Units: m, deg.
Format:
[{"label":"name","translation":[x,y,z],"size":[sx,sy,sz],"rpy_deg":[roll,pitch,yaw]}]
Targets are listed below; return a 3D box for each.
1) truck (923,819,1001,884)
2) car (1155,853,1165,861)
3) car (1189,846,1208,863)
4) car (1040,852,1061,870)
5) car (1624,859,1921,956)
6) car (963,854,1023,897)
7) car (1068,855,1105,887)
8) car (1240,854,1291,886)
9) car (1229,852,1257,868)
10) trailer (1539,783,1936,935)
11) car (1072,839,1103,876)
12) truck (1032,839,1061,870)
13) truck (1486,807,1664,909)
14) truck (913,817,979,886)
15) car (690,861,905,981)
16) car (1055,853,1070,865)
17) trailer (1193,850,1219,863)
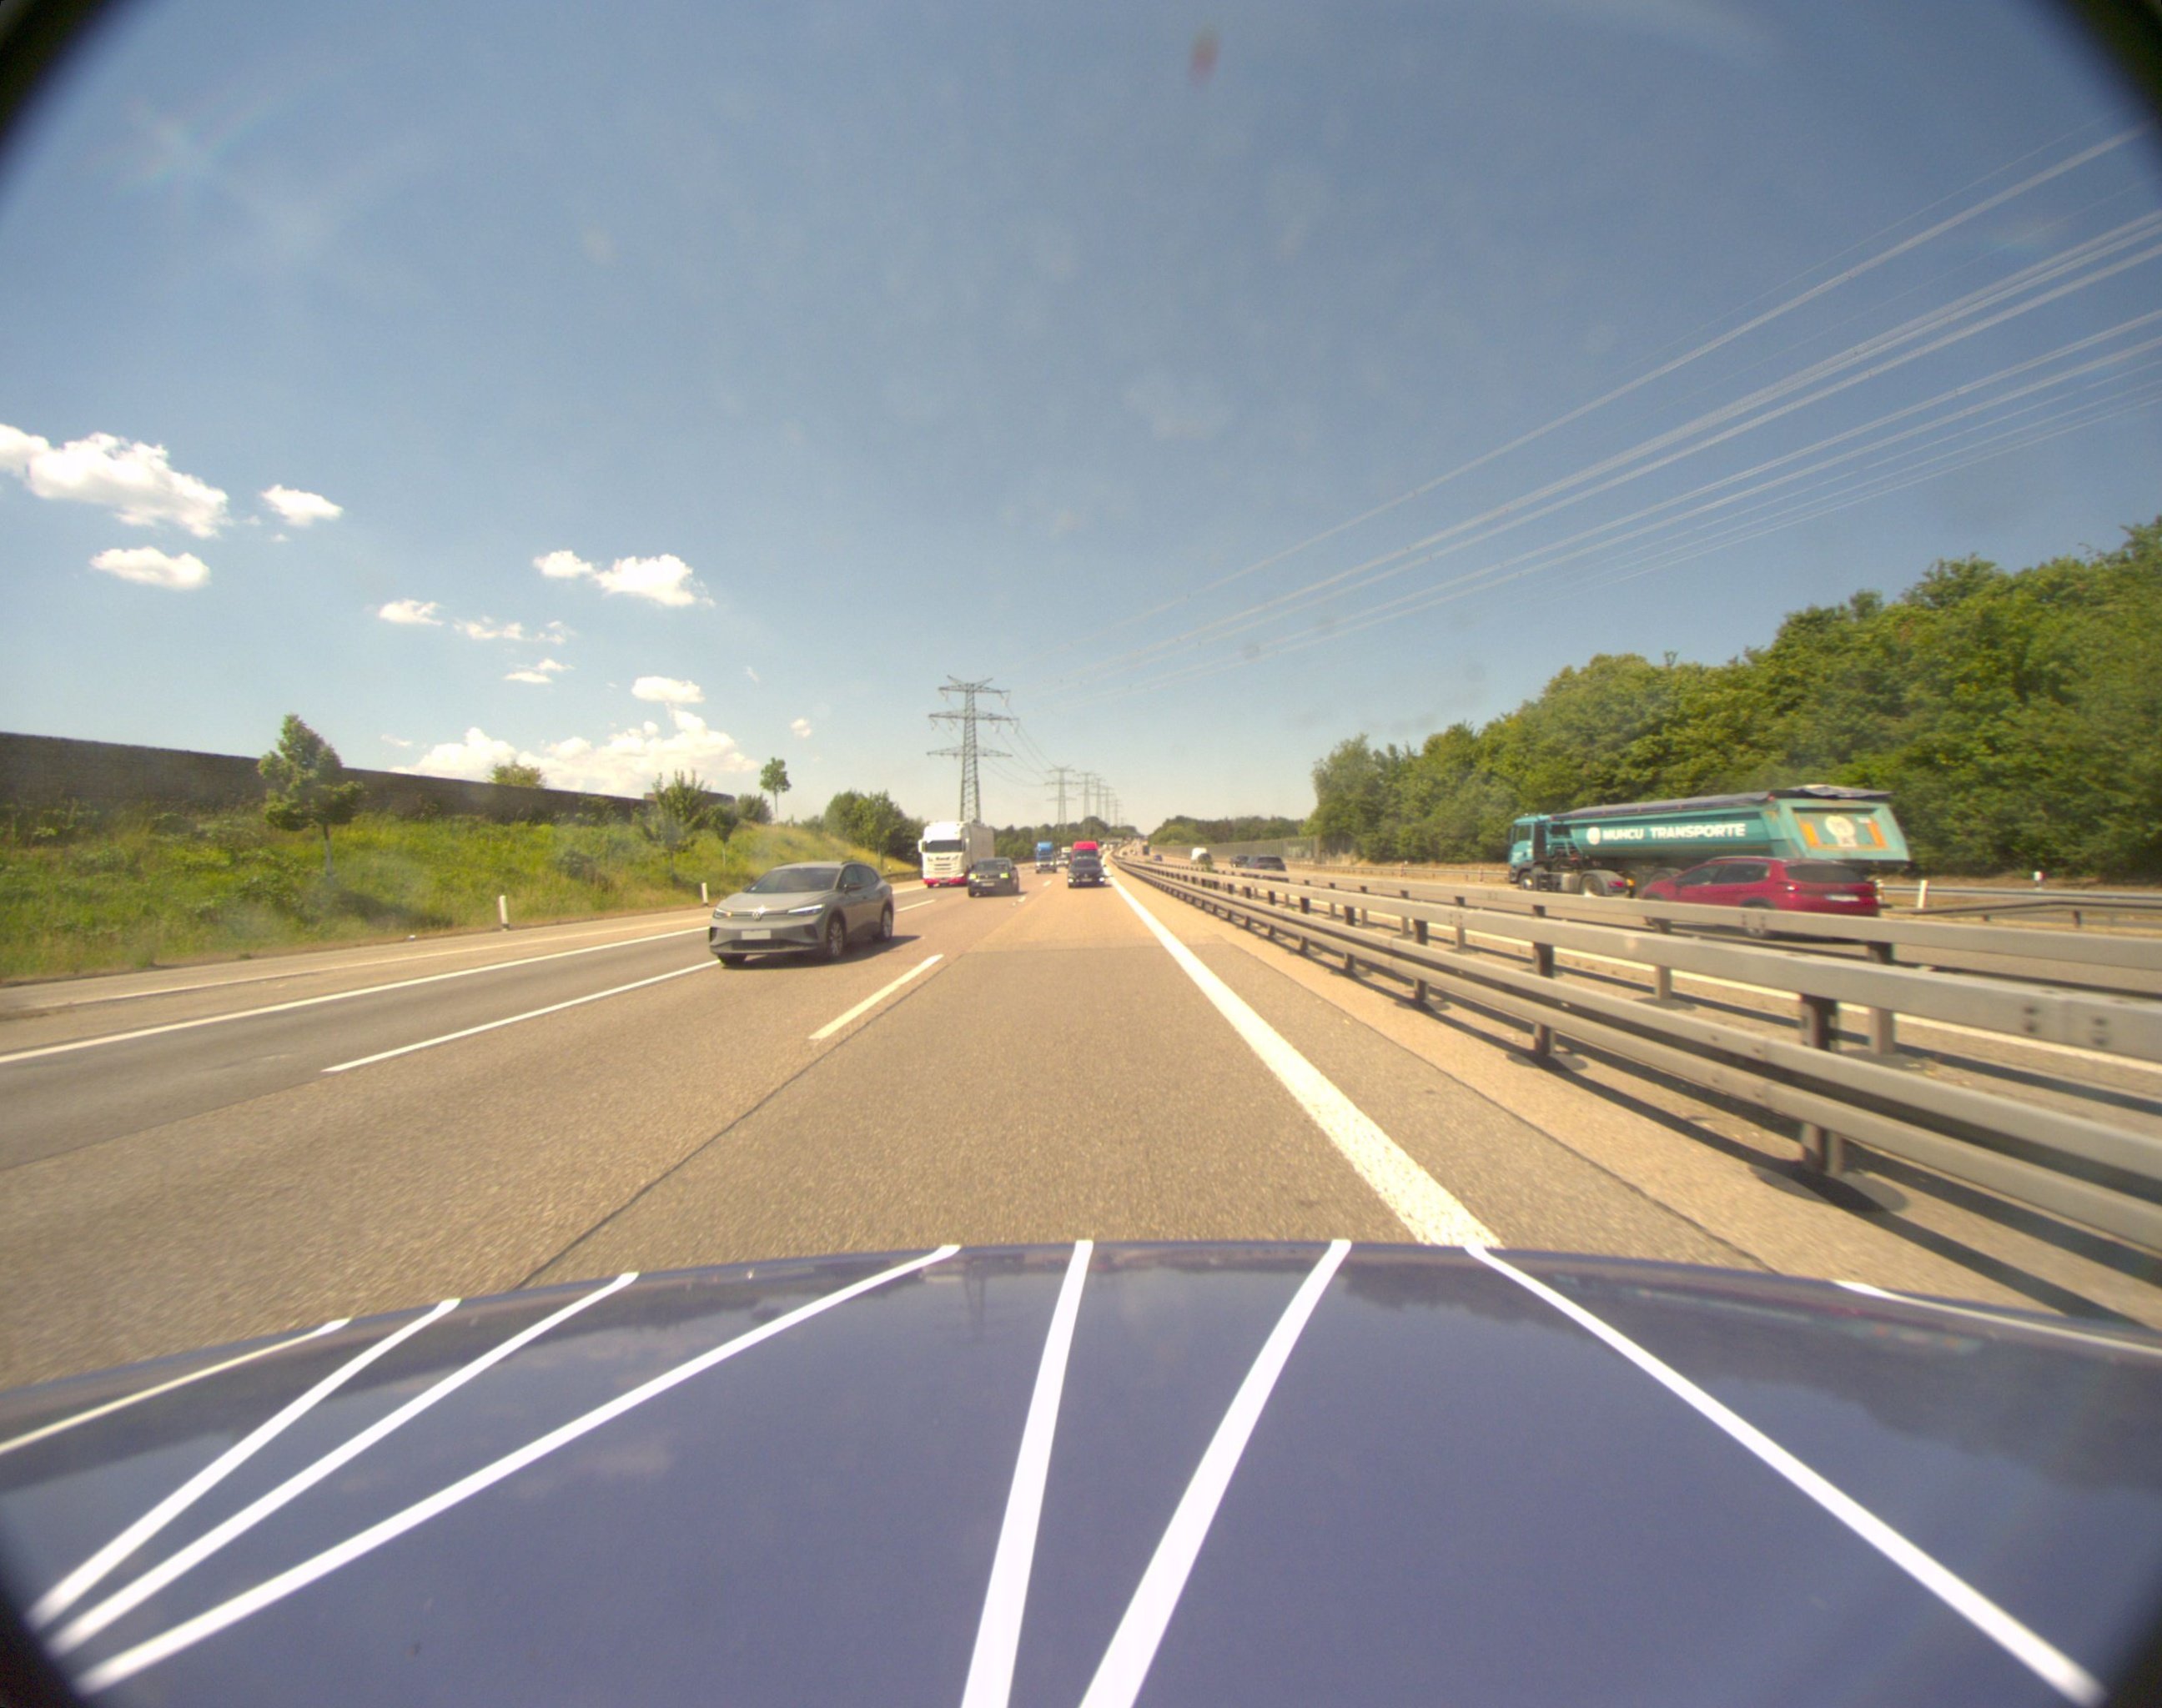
[{"label":"truck","translation":[-7.929,-0.151,52.787],"size":[3.076,3.885,12.504],"rpy_deg":[-2,0,1]},{"label":"car","translation":[16.763,0.621,161.128],"size":[1.786,1.465,4.355],"rpy_deg":[2,0,1]},{"label":"car","translation":[19.304,0.040,124.908],"size":[2.114,2.624,6.004],"rpy_deg":[1,0,1]},{"label":"car","translation":[-2.883,0.666,73.194],"size":[1.749,1.691,4.089],"rpy_deg":[0,0,2]},{"label":"car","translation":[13.124,0.907,14.901],"size":[1.786,1.521,4.384],"rpy_deg":[2,0,0]},{"label":"car","translation":[-3.730,0.887,32.799],"size":[1.955,1.636,4.047],"rpy_deg":[-3,0,1]},{"label":"car","translation":[0.312,0.821,38.255],"size":[1.735,1.535,3.750],"rpy_deg":[0,0,1]},{"label":"car","translation":[9.723,0.813,40.307],"size":[1.786,1.615,4.000],"rpy_deg":[0,0,1]},{"label":"car","translation":[18.519,0.657,87.189],"size":[2.163,1.789,4.512],"rpy_deg":[1,0,-1]},{"label":"trailer","translation":[17.317,0.112,21.507],"size":[2.921,3.281,9.710],"rpy_deg":[-1,0,1]},{"label":"car","translation":[0.509,0.240,54.843],"size":[2.100,2.598,4.496],"rpy_deg":[0,0,2]},{"label":"truck","translation":[-5.914,0.010,132.948],"size":[3.797,4.970,14.924],"rpy_deg":[-2,0,1]},{"label":"truck","translation":[17.366,0.129,27.169],"size":[2.921,3.281,5.331],"rpy_deg":[-1,0,1]},{"label":"truck","translation":[-8.064,-0.152,45.837],"size":[3.076,3.885,3.847],"rpy_deg":[-2,0,1]},{"label":"car","translation":[-4.692,1.008,13.446],"size":[1.872,1.627,4.586],"rpy_deg":[-2,0,2]},{"label":"car","translation":[-2.641,0.734,108.753],"size":[1.879,1.591,3.689],"rpy_deg":[0,0,2]},{"label":"trailer","translation":[19.434,0.438,118.587],"size":[2.772,1.934,6.722],"rpy_deg":[1,0,-1]}]
